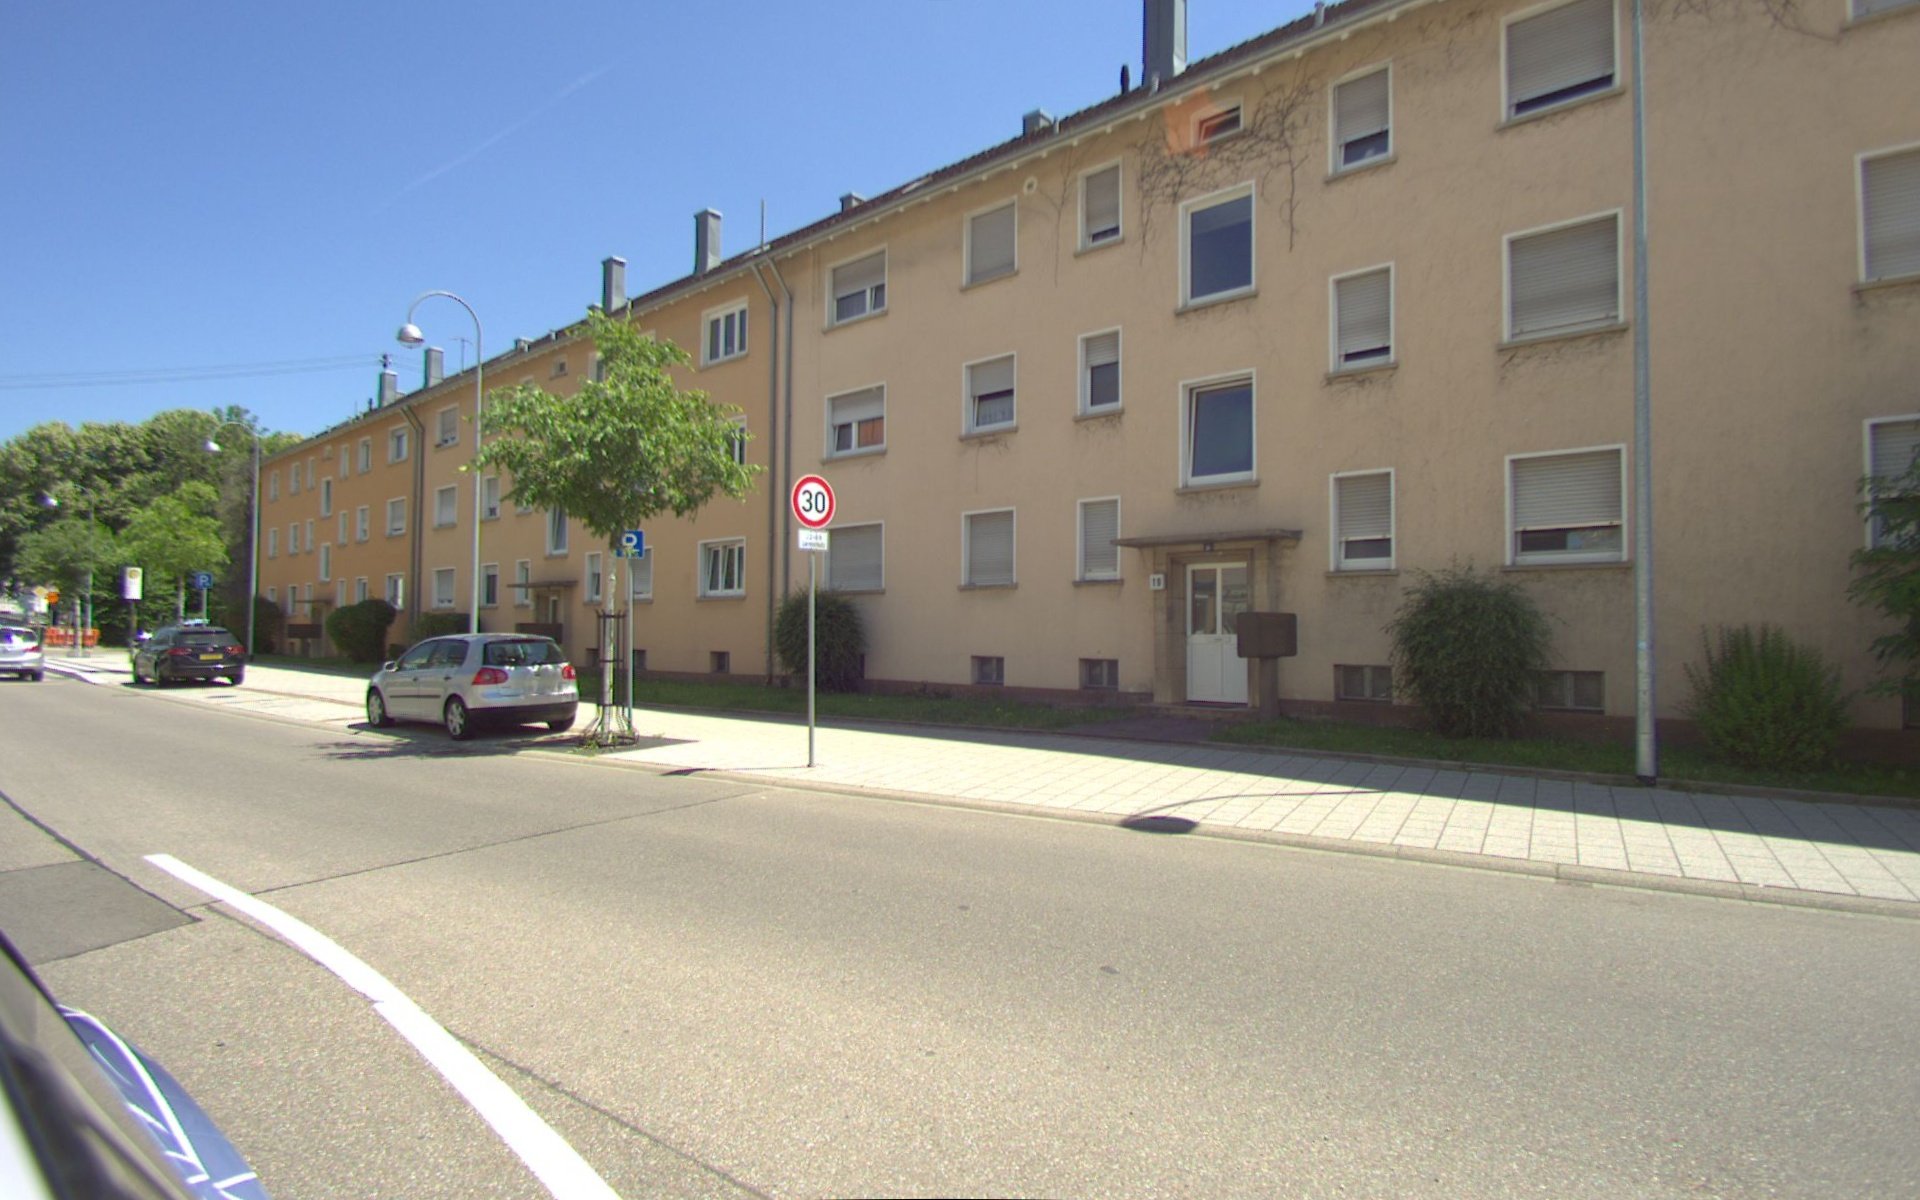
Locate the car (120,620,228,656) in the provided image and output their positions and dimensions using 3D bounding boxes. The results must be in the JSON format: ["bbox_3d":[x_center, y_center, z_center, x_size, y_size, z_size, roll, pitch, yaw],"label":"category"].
[{"bbox_3d":[-43.853,2.115,56.544,1.813,1.888,4.390,-1,-2,31],"label":"car"}]

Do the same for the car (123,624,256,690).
[{"bbox_3d":[-19.997,1.430,26.212,4.559,1.518,1.838,-2,-1,41],"label":"car"}]

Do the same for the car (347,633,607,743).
[{"bbox_3d":[-7.463,1.235,15.520,4.082,1.431,1.975,-1,-1,37],"label":"car"}]

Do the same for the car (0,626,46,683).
[{"bbox_3d":[-26.469,1.456,27.836,3.760,1.508,1.641,-1,-3,44],"label":"car"}]
